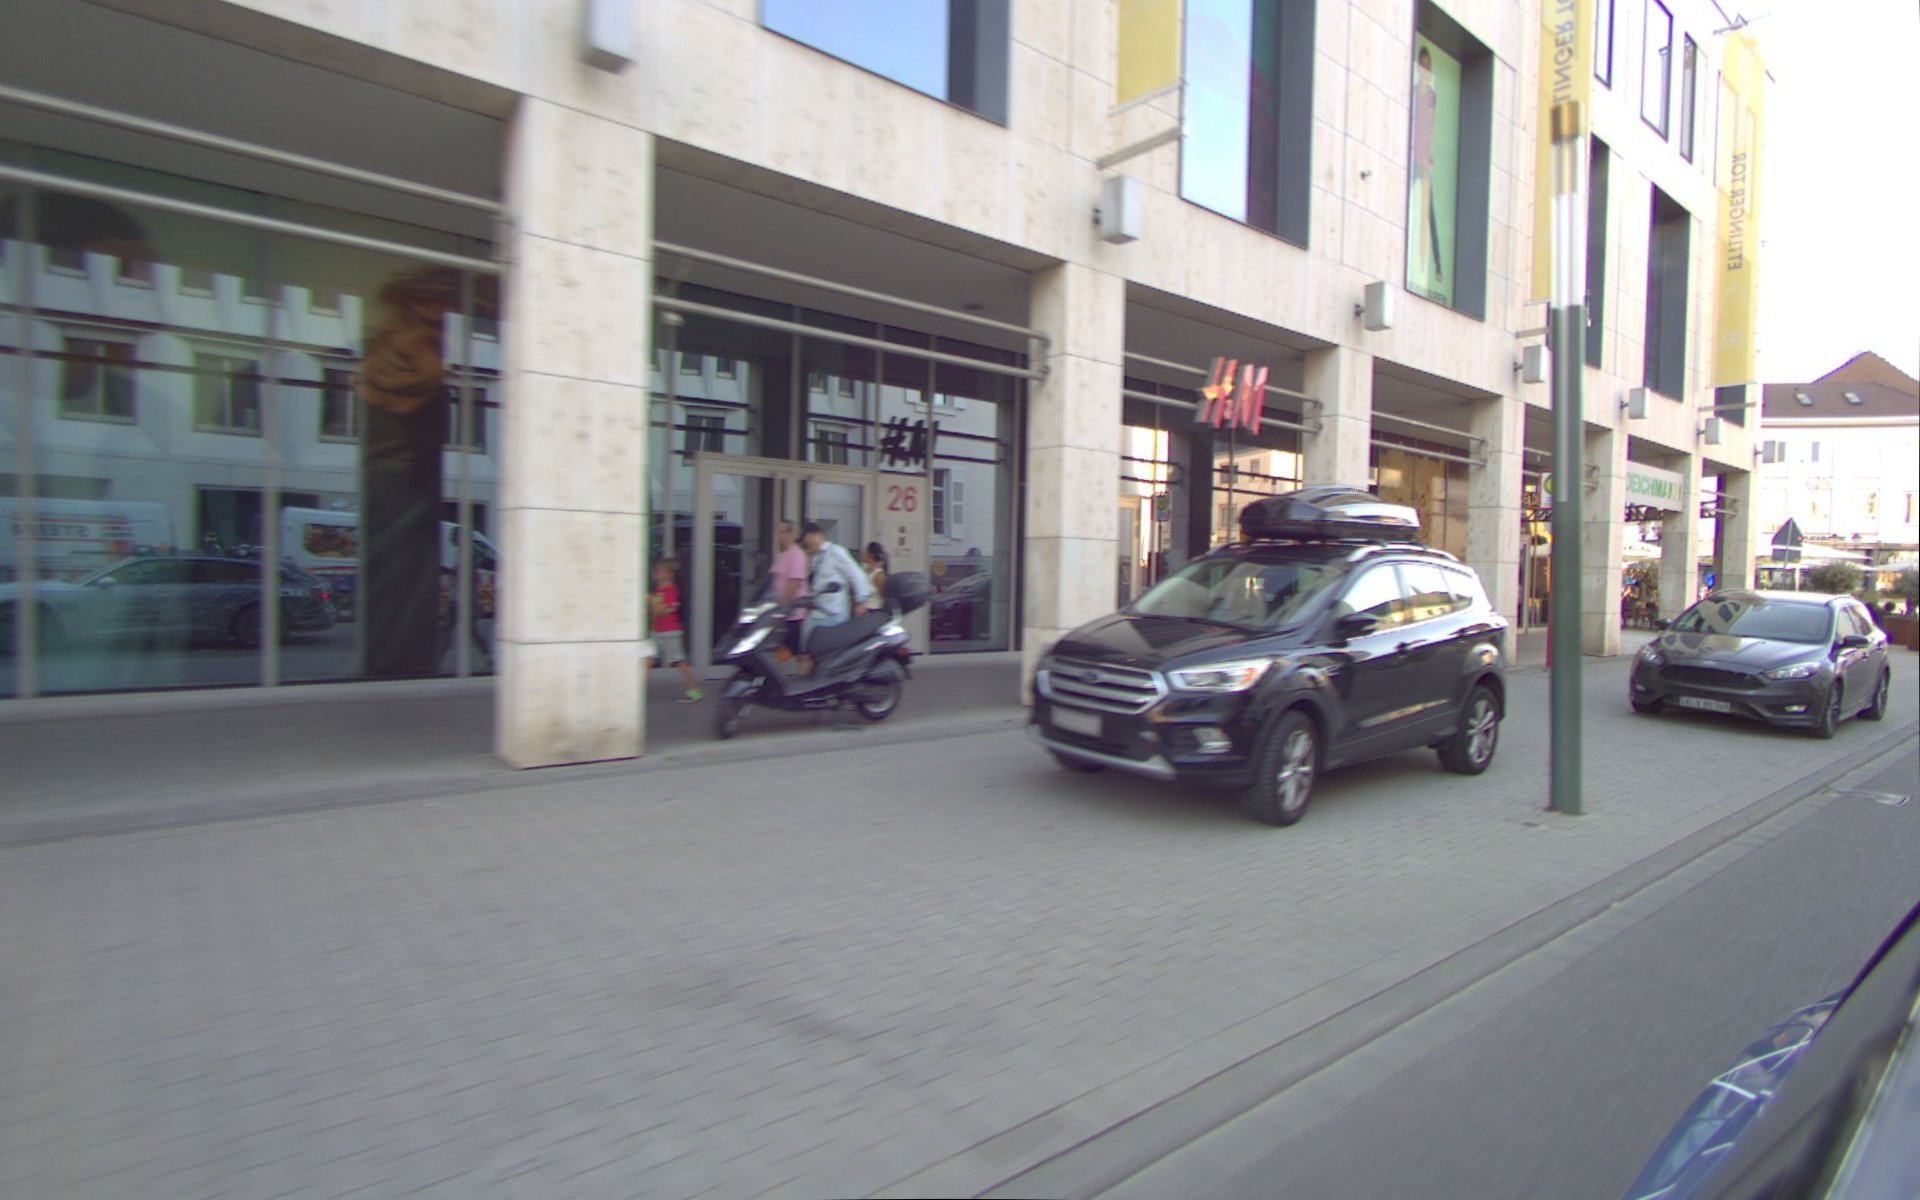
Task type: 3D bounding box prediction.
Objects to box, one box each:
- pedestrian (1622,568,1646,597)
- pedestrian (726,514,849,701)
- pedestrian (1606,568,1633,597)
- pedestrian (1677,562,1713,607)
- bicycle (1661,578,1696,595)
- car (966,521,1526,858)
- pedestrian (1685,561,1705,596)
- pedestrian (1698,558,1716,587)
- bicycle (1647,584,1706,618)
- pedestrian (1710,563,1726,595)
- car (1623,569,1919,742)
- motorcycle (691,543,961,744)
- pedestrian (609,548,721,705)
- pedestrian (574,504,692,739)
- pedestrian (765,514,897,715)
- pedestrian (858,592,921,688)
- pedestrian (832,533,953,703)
[{"bbox_3d":[34.870,-0.919,52.362,0.679,1.465,0.725,0,2,-16],"label":"pedestrian"},{"bbox_3d":[-1.665,0.053,9.769,0.861,1.702,0.766,1,1,-41],"label":"pedestrian"},{"bbox_3d":[33.875,-0.894,51.983,0.847,1.465,0.725,0,2,-16],"label":"pedestrian"},{"bbox_3d":[26.671,-0.567,36.711,0.699,1.608,0.751,0,2,-22],"label":"pedestrian"},{"bbox_3d":[41.196,-0.750,58.013,1.644,0.945,0.474,1,2,-2],"label":"bicycle"},{"bbox_3d":[2.158,0.362,7.108,3.986,1.656,1.773,-2,6,-40],"label":"car"},{"bbox_3d":[42.186,-1.229,58.060,0.615,1.952,0.647,0,2,-16],"label":"pedestrian"},{"bbox_3d":[44.034,-1.643,59.661,0.720,1.697,0.620,-1,2,-38],"label":"pedestrian"},{"bbox_3d":[25.504,0.031,36.008,1.866,1.142,0.609,2,2,-15],"label":"bicycle"},{"bbox_3d":[43.806,-1.218,58.491,0.706,1.840,0.509,-1,2,-38],"label":"pedestrian"},{"bbox_3d":[9.433,0.471,11.649,4.119,1.507,1.800,-2,7,-40],"label":"car"},{"bbox_3d":[-1.033,0.277,8.138,2.097,1.434,0.694,-1,3,-38],"label":"motorcycle"},{"bbox_3d":[-2.700,0.219,9.269,0.761,1.362,0.635,1,1,-41],"label":"pedestrian"},{"bbox_3d":[-2.533,0.140,7.831,0.684,1.719,0.591,-1,3,-42],"label":"pedestrian"},{"bbox_3d":[-1.161,0.109,9.120,0.861,1.702,0.766,1,1,-41],"label":"pedestrian"},{"bbox_3d":[-0.764,0.424,10.968,0.516,0.998,0.420,1,1,-41],"label":"pedestrian"},{"bbox_3d":[-0.668,0.155,9.988,0.861,1.587,0.766,1,1,-41],"label":"pedestrian"}]
